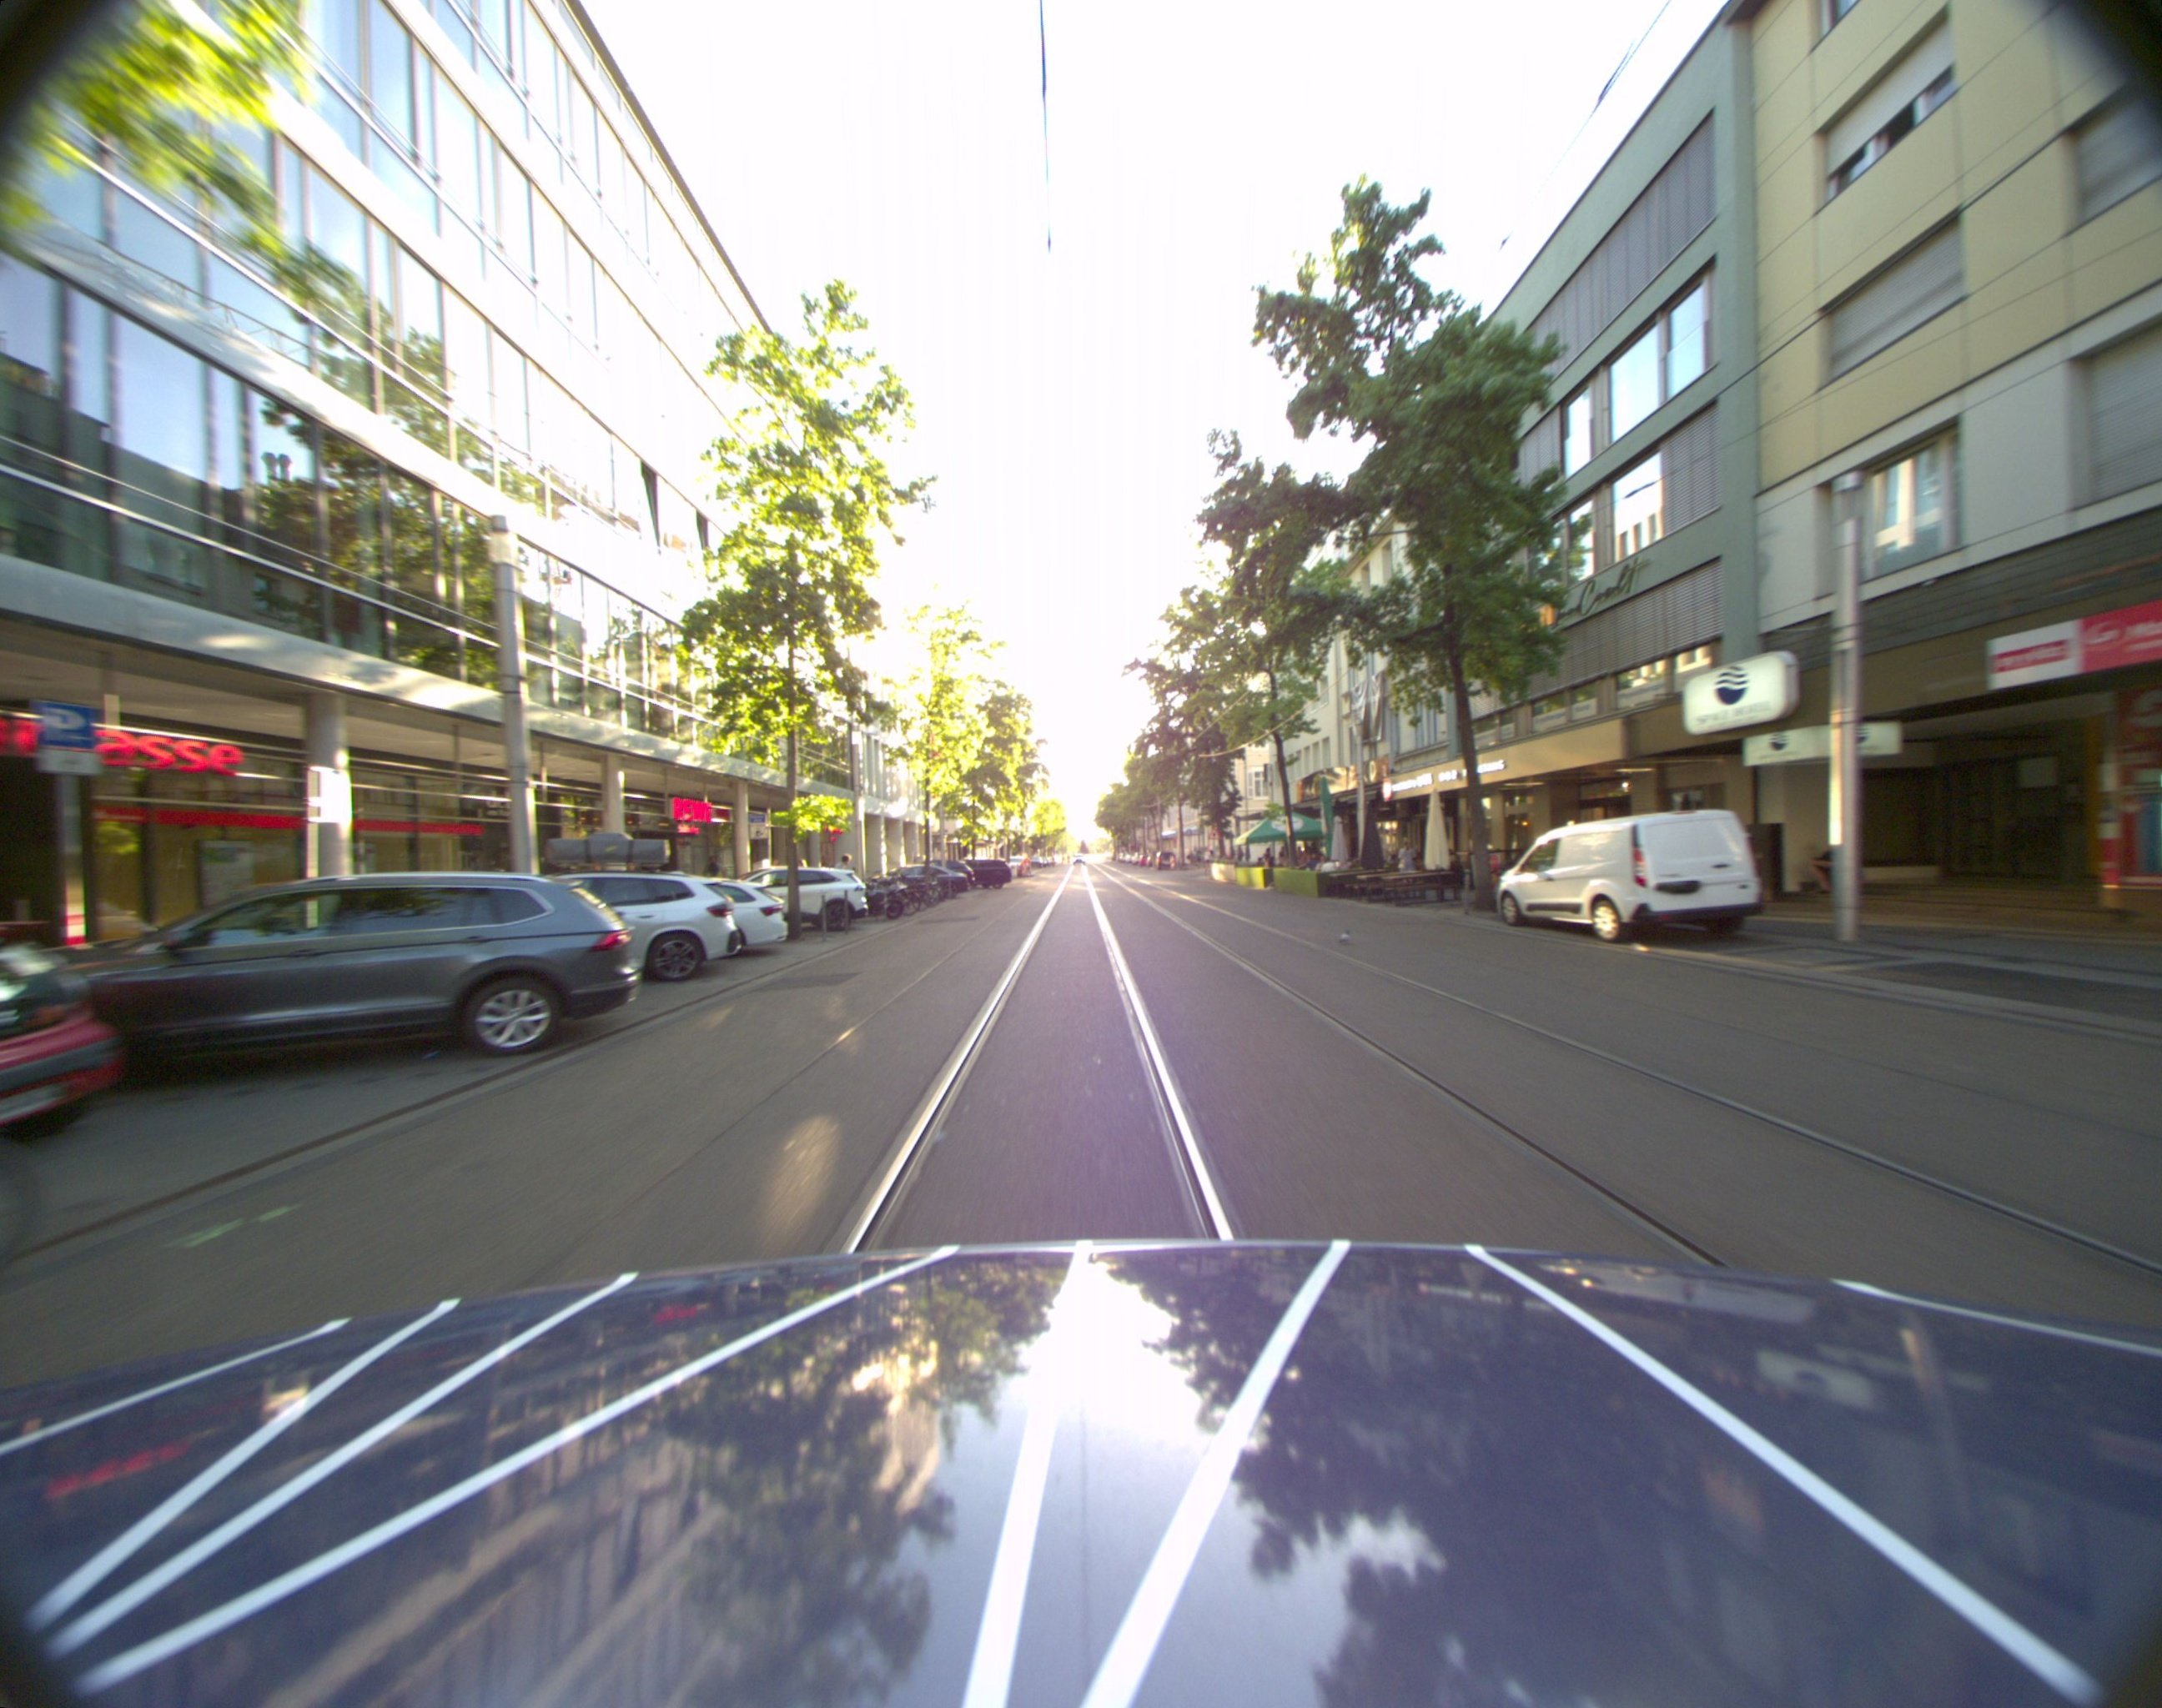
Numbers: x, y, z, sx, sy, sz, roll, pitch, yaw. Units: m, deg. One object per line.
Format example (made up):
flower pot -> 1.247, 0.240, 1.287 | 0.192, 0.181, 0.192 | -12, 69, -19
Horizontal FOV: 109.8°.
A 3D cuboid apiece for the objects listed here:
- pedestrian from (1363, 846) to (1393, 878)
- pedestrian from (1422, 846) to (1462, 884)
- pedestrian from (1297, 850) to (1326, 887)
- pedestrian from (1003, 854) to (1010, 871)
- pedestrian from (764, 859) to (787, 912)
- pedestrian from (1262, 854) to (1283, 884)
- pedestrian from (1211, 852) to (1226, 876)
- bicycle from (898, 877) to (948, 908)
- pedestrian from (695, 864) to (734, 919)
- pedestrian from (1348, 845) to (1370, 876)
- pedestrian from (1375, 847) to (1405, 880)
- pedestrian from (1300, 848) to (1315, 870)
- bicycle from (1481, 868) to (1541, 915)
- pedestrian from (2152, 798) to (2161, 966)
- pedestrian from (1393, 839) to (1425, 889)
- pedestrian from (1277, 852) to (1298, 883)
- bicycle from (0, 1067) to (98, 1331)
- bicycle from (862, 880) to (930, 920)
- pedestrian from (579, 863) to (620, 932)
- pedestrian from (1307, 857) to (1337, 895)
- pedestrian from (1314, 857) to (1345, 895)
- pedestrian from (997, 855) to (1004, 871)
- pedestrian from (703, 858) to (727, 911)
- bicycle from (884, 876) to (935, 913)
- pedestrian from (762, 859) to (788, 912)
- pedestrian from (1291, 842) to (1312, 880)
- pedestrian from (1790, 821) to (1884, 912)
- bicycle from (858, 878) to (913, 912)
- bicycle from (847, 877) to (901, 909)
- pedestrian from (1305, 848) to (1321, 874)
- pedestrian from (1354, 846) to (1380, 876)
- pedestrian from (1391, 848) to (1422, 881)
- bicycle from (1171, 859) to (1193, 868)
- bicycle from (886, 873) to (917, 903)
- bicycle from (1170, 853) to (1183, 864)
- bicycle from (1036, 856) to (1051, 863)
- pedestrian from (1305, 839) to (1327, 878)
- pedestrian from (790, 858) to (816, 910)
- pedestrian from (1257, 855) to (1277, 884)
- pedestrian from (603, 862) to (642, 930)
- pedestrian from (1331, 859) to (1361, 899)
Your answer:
pedestrian -> 12.317, 0.328, 31.579 | 0.779, 1.230, 0.945 | -5, 1, -1
pedestrian -> 12.254, 0.367, 25.837 | 0.755, 1.181, 1.065 | -5, 1, -1
pedestrian -> 8.851, 0.537, 29.213 | 0.756, 1.336, 0.872 | -5, 1, -1
pedestrian -> -8.357, 0.971, 85.406 | 0.707, 1.820, 0.634 | -2, 1, 0
pedestrian -> -10.062, 1.034, 25.063 | 0.524, 1.740, 0.559 | 0, 1, 2
pedestrian -> 8.176, 0.645, 32.520 | 0.620, 1.238, 0.697 | -5, 1, -1
pedestrian -> 8.149, 0.590, 45.093 | 0.691, 1.378, 0.807 | -4, 1, 1
bicycle -> -5.727, 1.364, 27.488 | 1.566, 1.082, 0.867 | 1, -1, -30
pedestrian -> -11.072, 1.113, 22.987 | 0.716, 1.614, 0.882 | -1, 1, 1
pedestrian -> 12.393, 0.286, 33.892 | 0.620, 1.302, 0.697 | -5, 1, -1
pedestrian -> 12.131, 0.376, 29.828 | 0.738, 1.207, 0.788 | -5, 1, -1
pedestrian -> 12.658, 0.281, 42.534 | 0.554, 1.155, 0.687 | -4, 1, 1
bicycle -> 9.557, 0.814, 16.861 | 0.834, 0.860, 1.864 | -4, 0, 39
pedestrian -> 11.097, 0.265, 7.105 | 0.668, 1.676, 1.005 | -4, 1, 0
pedestrian -> 10.747, 0.322, 24.893 | 0.649, 1.565, 0.700 | -5, 1, 0
pedestrian -> 8.883, 0.578, 32.700 | 0.620, 1.238, 0.697 | -5, 1, -1
bicycle -> -4.875, 1.460, 2.371 | 0.720, 0.989, 2.060 | -4, 0, 10
bicycle -> -5.619, 1.376, 23.082 | 1.899, 1.113, 0.666 | 0, 1, -29
pedestrian -> -12.313, 1.100, 19.447 | 0.626, 1.733, 0.599 | -1, 1, -1
pedestrian -> 8.318, 0.741, 26.235 | 0.658, 1.237, 0.872 | -5, 1, -1
pedestrian -> 8.337, 0.737, 25.524 | 0.658, 1.186, 0.798 | -5, 1, -1
pedestrian -> -9.065, 1.023, 85.400 | 0.690, 1.820, 0.634 | -2, 1, 0
pedestrian -> -12.280, 1.006, 25.484 | 0.558, 1.740, 0.525 | 0, 1, 0
bicycle -> -5.682, 1.329, 25.239 | 0.480, 1.157, 1.698 | 2, 1, 40
pedestrian -> -10.128, 1.033, 25.142 | 0.518, 1.686, 0.550 | -2, 1, 5
pedestrian -> 10.087, 0.312, 34.778 | 0.620, 1.661, 0.697 | -4, 1, -1
pedestrian -> 13.045, 0.208, 13.137 | 0.771, 1.458, 0.765 | -5, 1, -2
bicycle -> -6.571, 1.364, 25.524 | 1.697, 1.099, 0.631 | 1, 1, -26
bicycle -> -7.240, 1.360, 26.620 | 1.677, 1.068, 0.731 | 1, -1, -30
pedestrian -> 12.381, 0.368, 40.573 | 0.603, 1.291, 0.687 | -4, 1, 1
pedestrian -> 12.409, 0.288, 32.982 | 0.738, 1.224, 0.788 | -5, 1, -1
pedestrian -> 12.178, 0.375, 28.449 | 0.702, 1.161, 0.788 | -5, 1, -1
bicycle -> 8.770, 0.835, 65.939 | 1.799, 0.605, 1.282 | -3, 0, 3
bicycle -> -7.093, 1.333, 29.978 | 0.553, 1.101, 1.845 | 0, 0, -36
bicycle -> 10.203, 0.493, 81.196 | 0.760, 1.115, 2.045 | -5, 1, -11
bicycle -> -5.975, 0.882, 121.894 | 2.325, 1.181, 0.751 | -2, 1, 1
pedestrian -> 10.765, 0.199, 34.835 | 0.679, 1.746, 0.697 | -4, 1, 1
pedestrian -> -9.315, 0.996, 25.518 | 0.681, 1.686, 0.549 | -2, 1, -12
pedestrian -> 8.239, 0.678, 33.611 | 0.620, 1.238, 0.697 | -5, 1, -1
pedestrian -> -11.921, 1.080, 19.785 | 0.626, 1.733, 0.599 | -1, 1, -2
pedestrian -> 9.128, 0.855, 26.164 | 0.658, 1.286, 0.798 | -5, 1, -1
